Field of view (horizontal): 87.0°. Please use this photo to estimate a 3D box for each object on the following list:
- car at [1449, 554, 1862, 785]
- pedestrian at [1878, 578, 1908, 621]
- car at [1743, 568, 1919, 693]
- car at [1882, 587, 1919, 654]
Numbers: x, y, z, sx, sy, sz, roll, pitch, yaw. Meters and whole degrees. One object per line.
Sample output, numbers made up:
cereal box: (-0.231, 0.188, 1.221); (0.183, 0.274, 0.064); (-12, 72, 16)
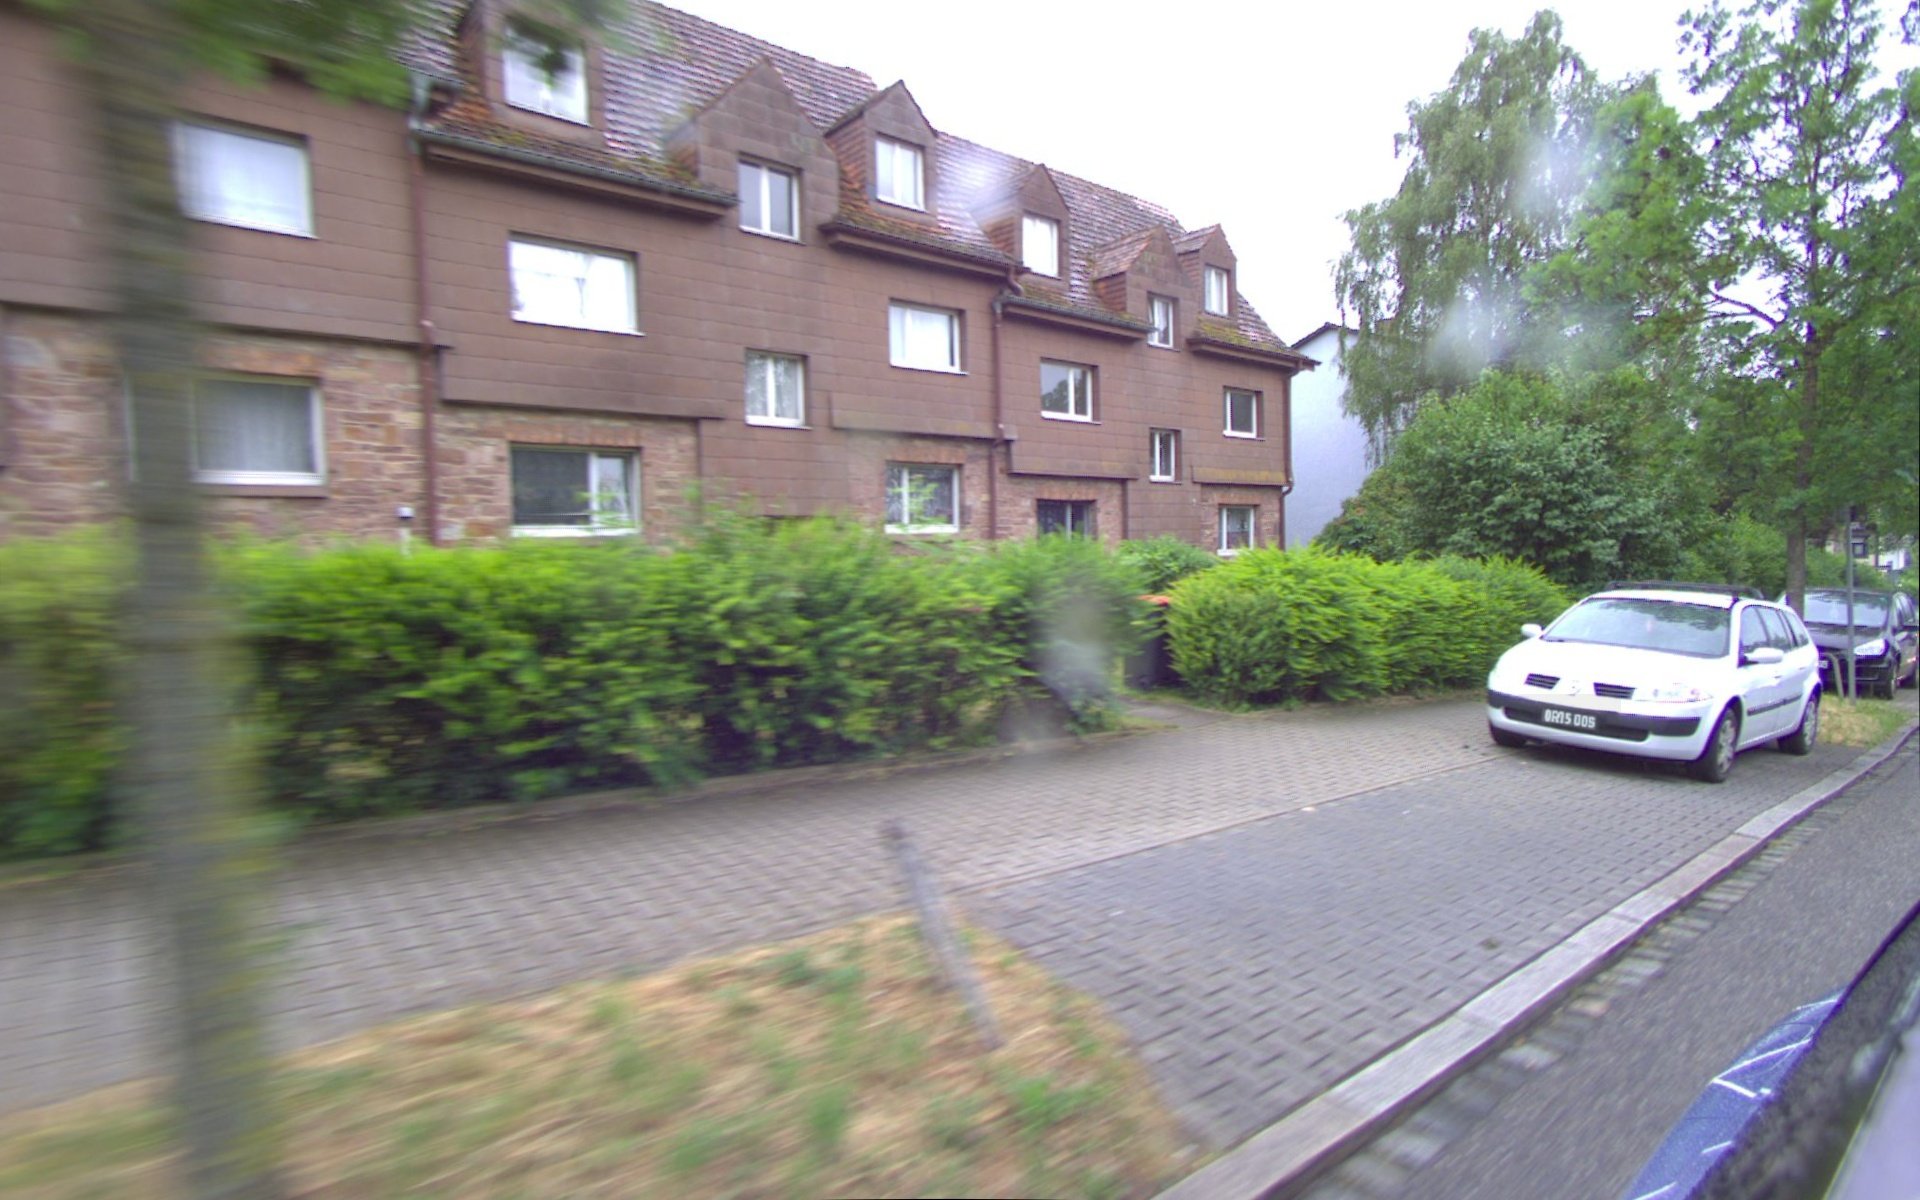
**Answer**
car: (6.555, 0.475, 9.359); (4.391, 1.622, 1.830); (0, 3, -38)
pedestrian: (37.247, -0.028, 40.411); (0.641, 1.700, 0.710); (0, 2, -35)
car: (14.397, 0.406, 16.376); (4.504, 1.698, 1.828); (0, 3, -41)
car: (23.959, 0.514, 24.793); (3.722, 1.530, 1.724); (0, 3, -44)
